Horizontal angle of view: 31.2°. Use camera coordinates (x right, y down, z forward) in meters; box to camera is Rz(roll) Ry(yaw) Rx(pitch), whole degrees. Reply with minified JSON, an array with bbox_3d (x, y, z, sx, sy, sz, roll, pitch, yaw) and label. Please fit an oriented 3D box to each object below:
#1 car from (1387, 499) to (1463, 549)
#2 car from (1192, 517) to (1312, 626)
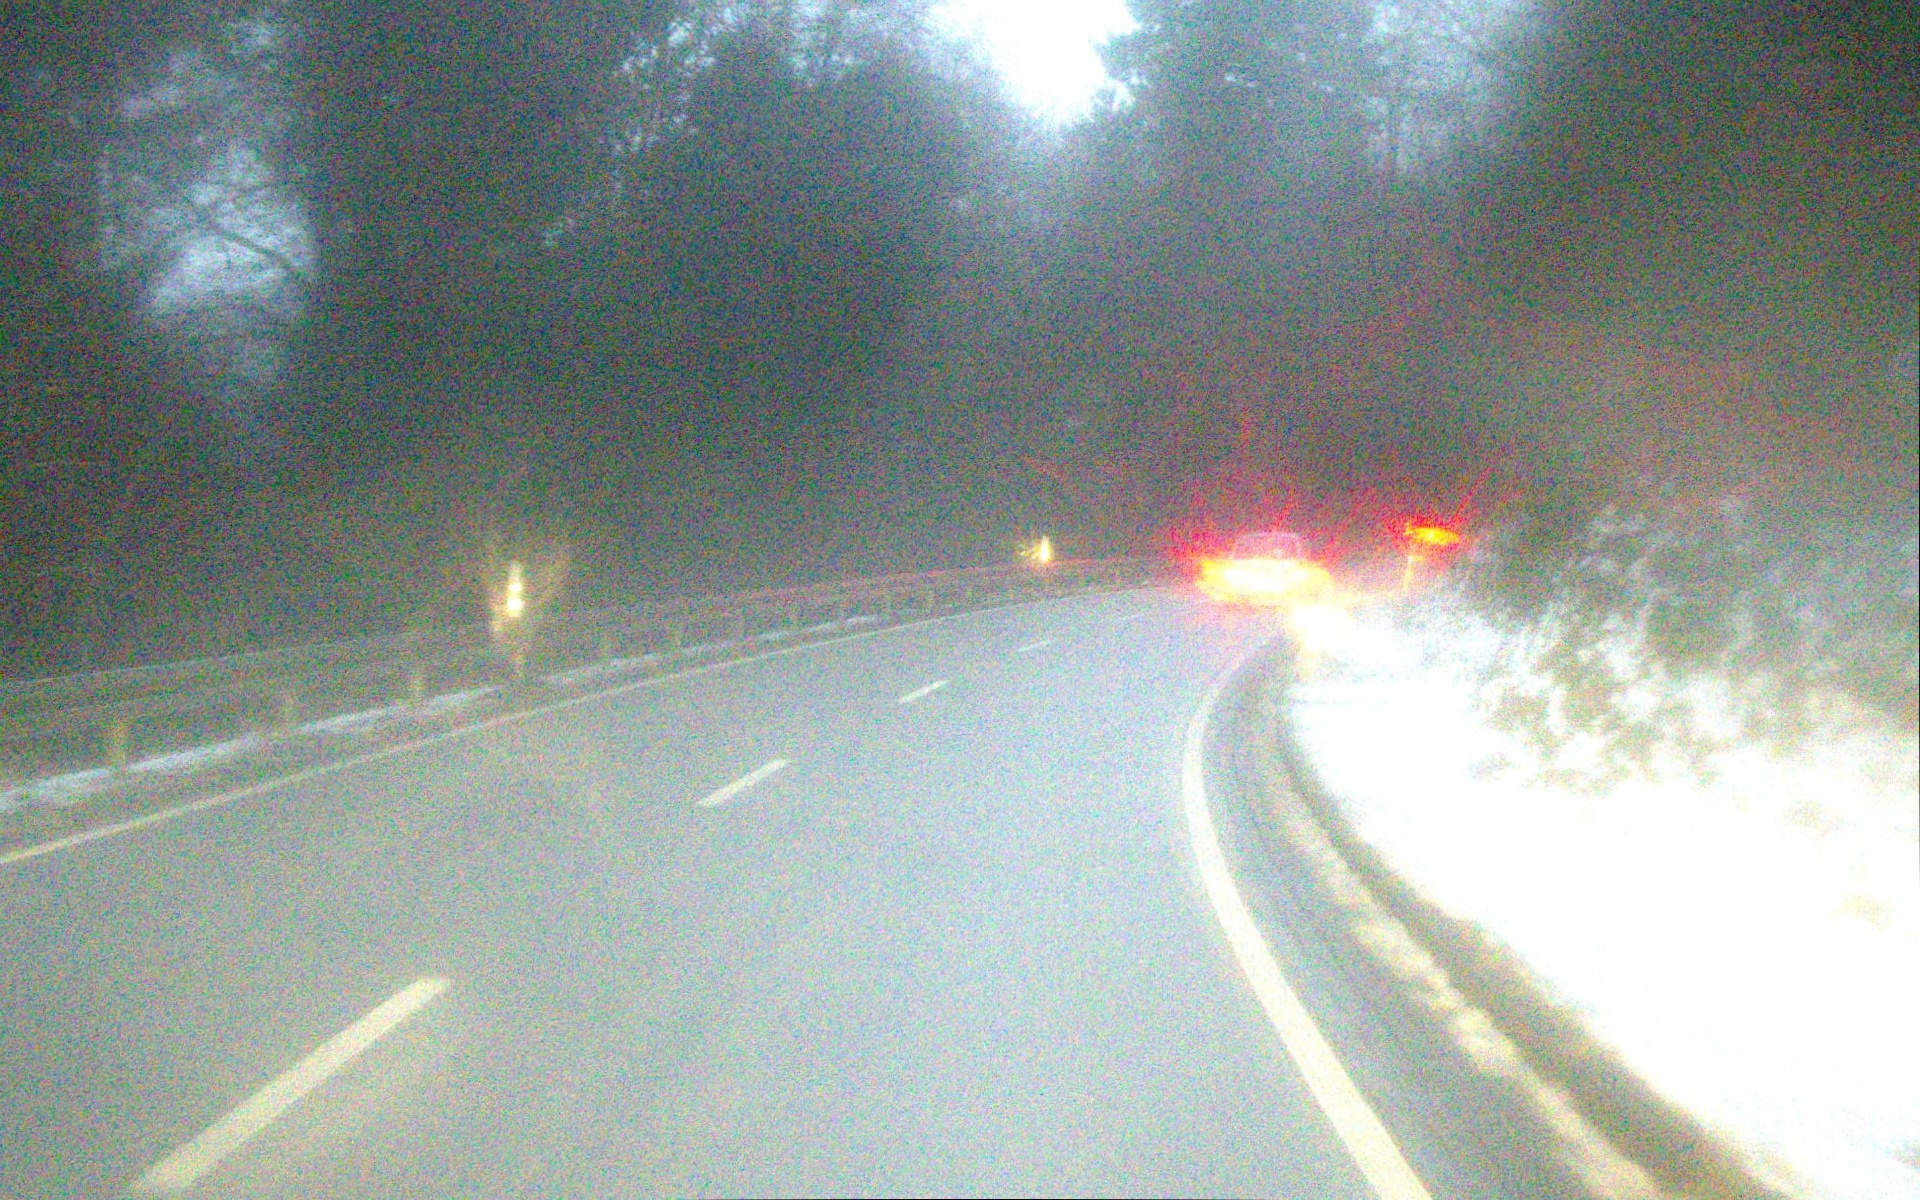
[{"bbox_3d":[13.353,-2.205,98.844,1.994,1.305,3.999,-3,1,6],"label":"car"},{"bbox_3d":[5.521,-0.560,64.631,1.994,1.866,3.999,-3,1,7],"label":"car"}]
